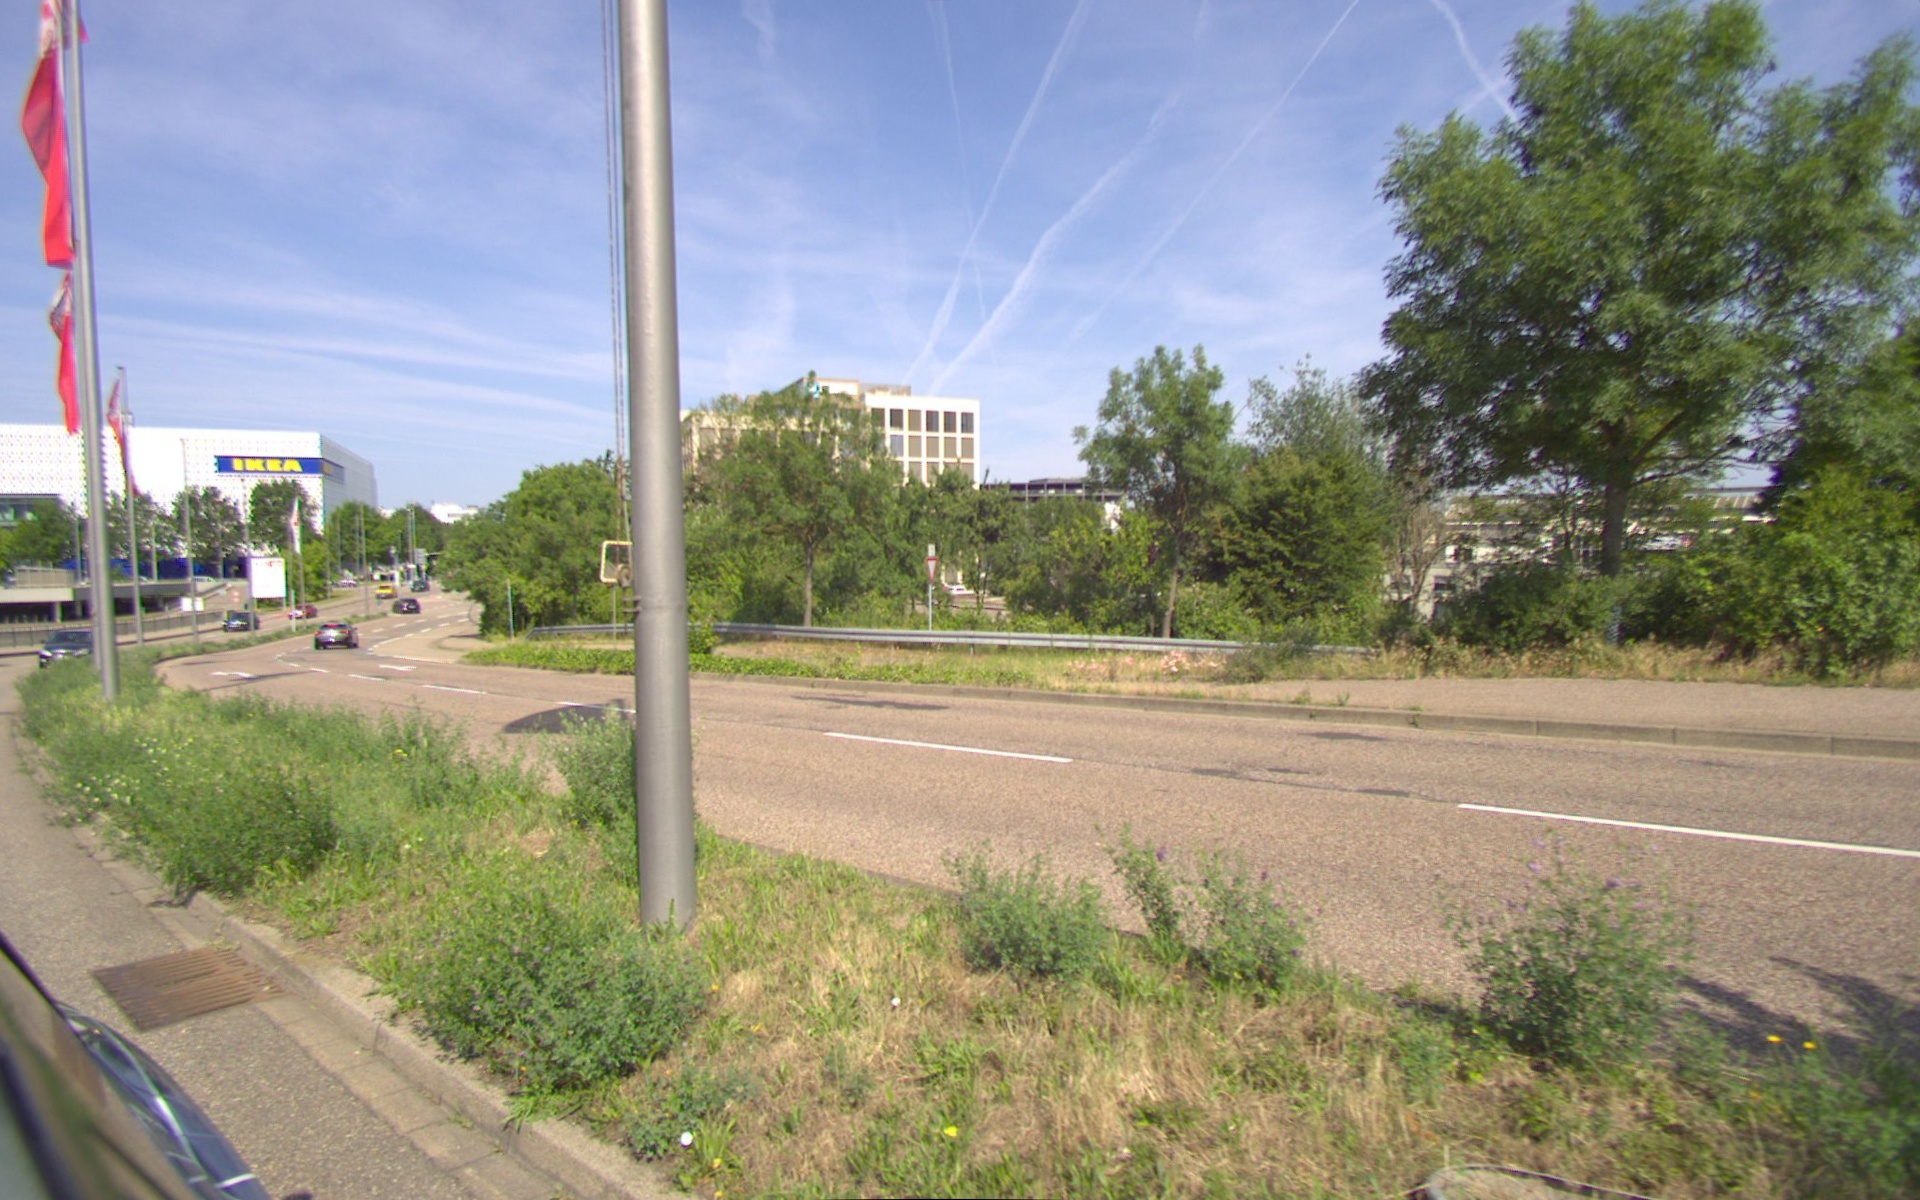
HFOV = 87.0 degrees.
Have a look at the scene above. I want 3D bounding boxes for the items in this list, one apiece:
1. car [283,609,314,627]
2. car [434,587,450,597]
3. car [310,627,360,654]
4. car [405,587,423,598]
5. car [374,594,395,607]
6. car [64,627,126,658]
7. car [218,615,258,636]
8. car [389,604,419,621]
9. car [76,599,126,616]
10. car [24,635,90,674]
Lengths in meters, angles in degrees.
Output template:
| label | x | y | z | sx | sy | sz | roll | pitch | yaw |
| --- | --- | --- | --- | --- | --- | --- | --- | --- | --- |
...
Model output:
| label | x | y | z | sx | sy | sz | roll | pitch | yaw |
| --- | --- | --- | --- | --- | --- | --- | --- | --- | --- |
| car | -66.701 | 1.796 | 102.022 | 1.795 | 1.485 | 4.014 | -1 | 3 | -21 |
| car | -81.267 | -1.268 | 158.835 | 1.795 | 1.485 | 4.014 | -1 | 3 | -21 |
| car | -36.165 | 2.326 | 58.628 | 1.758 | 1.496 | 4.273 | 0 | -2 | -22 |
| car | -84.128 | -1.199 | 155.984 | 1.795 | 1.485 | 4.013 | -1 | 3 | -19 |
| car | -78.454 | 0.078 | 137.998 | 1.795 | 1.485 | 4.014 | -1 | 3 | -21 |
| car | -48.954 | 2.387 | 57.348 | 1.748 | 1.671 | 4.157 | -1 | -1 | -27 |
| car | -60.651 | 2.101 | 85.068 | 1.795 | 1.485 | 4.014 | -1 | 3 | -21 |
| car | -58.676 | 1.281 | 106.792 | 1.834 | 1.540 | 4.148 | -2 | 3 | -43 |
| car | -104.681 | 0.899 | 123.362 | 4.244 | 1.848 | 2.007 | -1 | 1 | -28 |
| car | -35.400 | 2.115 | 39.672 | 1.822 | 1.429 | 4.004 | 1 | -3 | -42 |
